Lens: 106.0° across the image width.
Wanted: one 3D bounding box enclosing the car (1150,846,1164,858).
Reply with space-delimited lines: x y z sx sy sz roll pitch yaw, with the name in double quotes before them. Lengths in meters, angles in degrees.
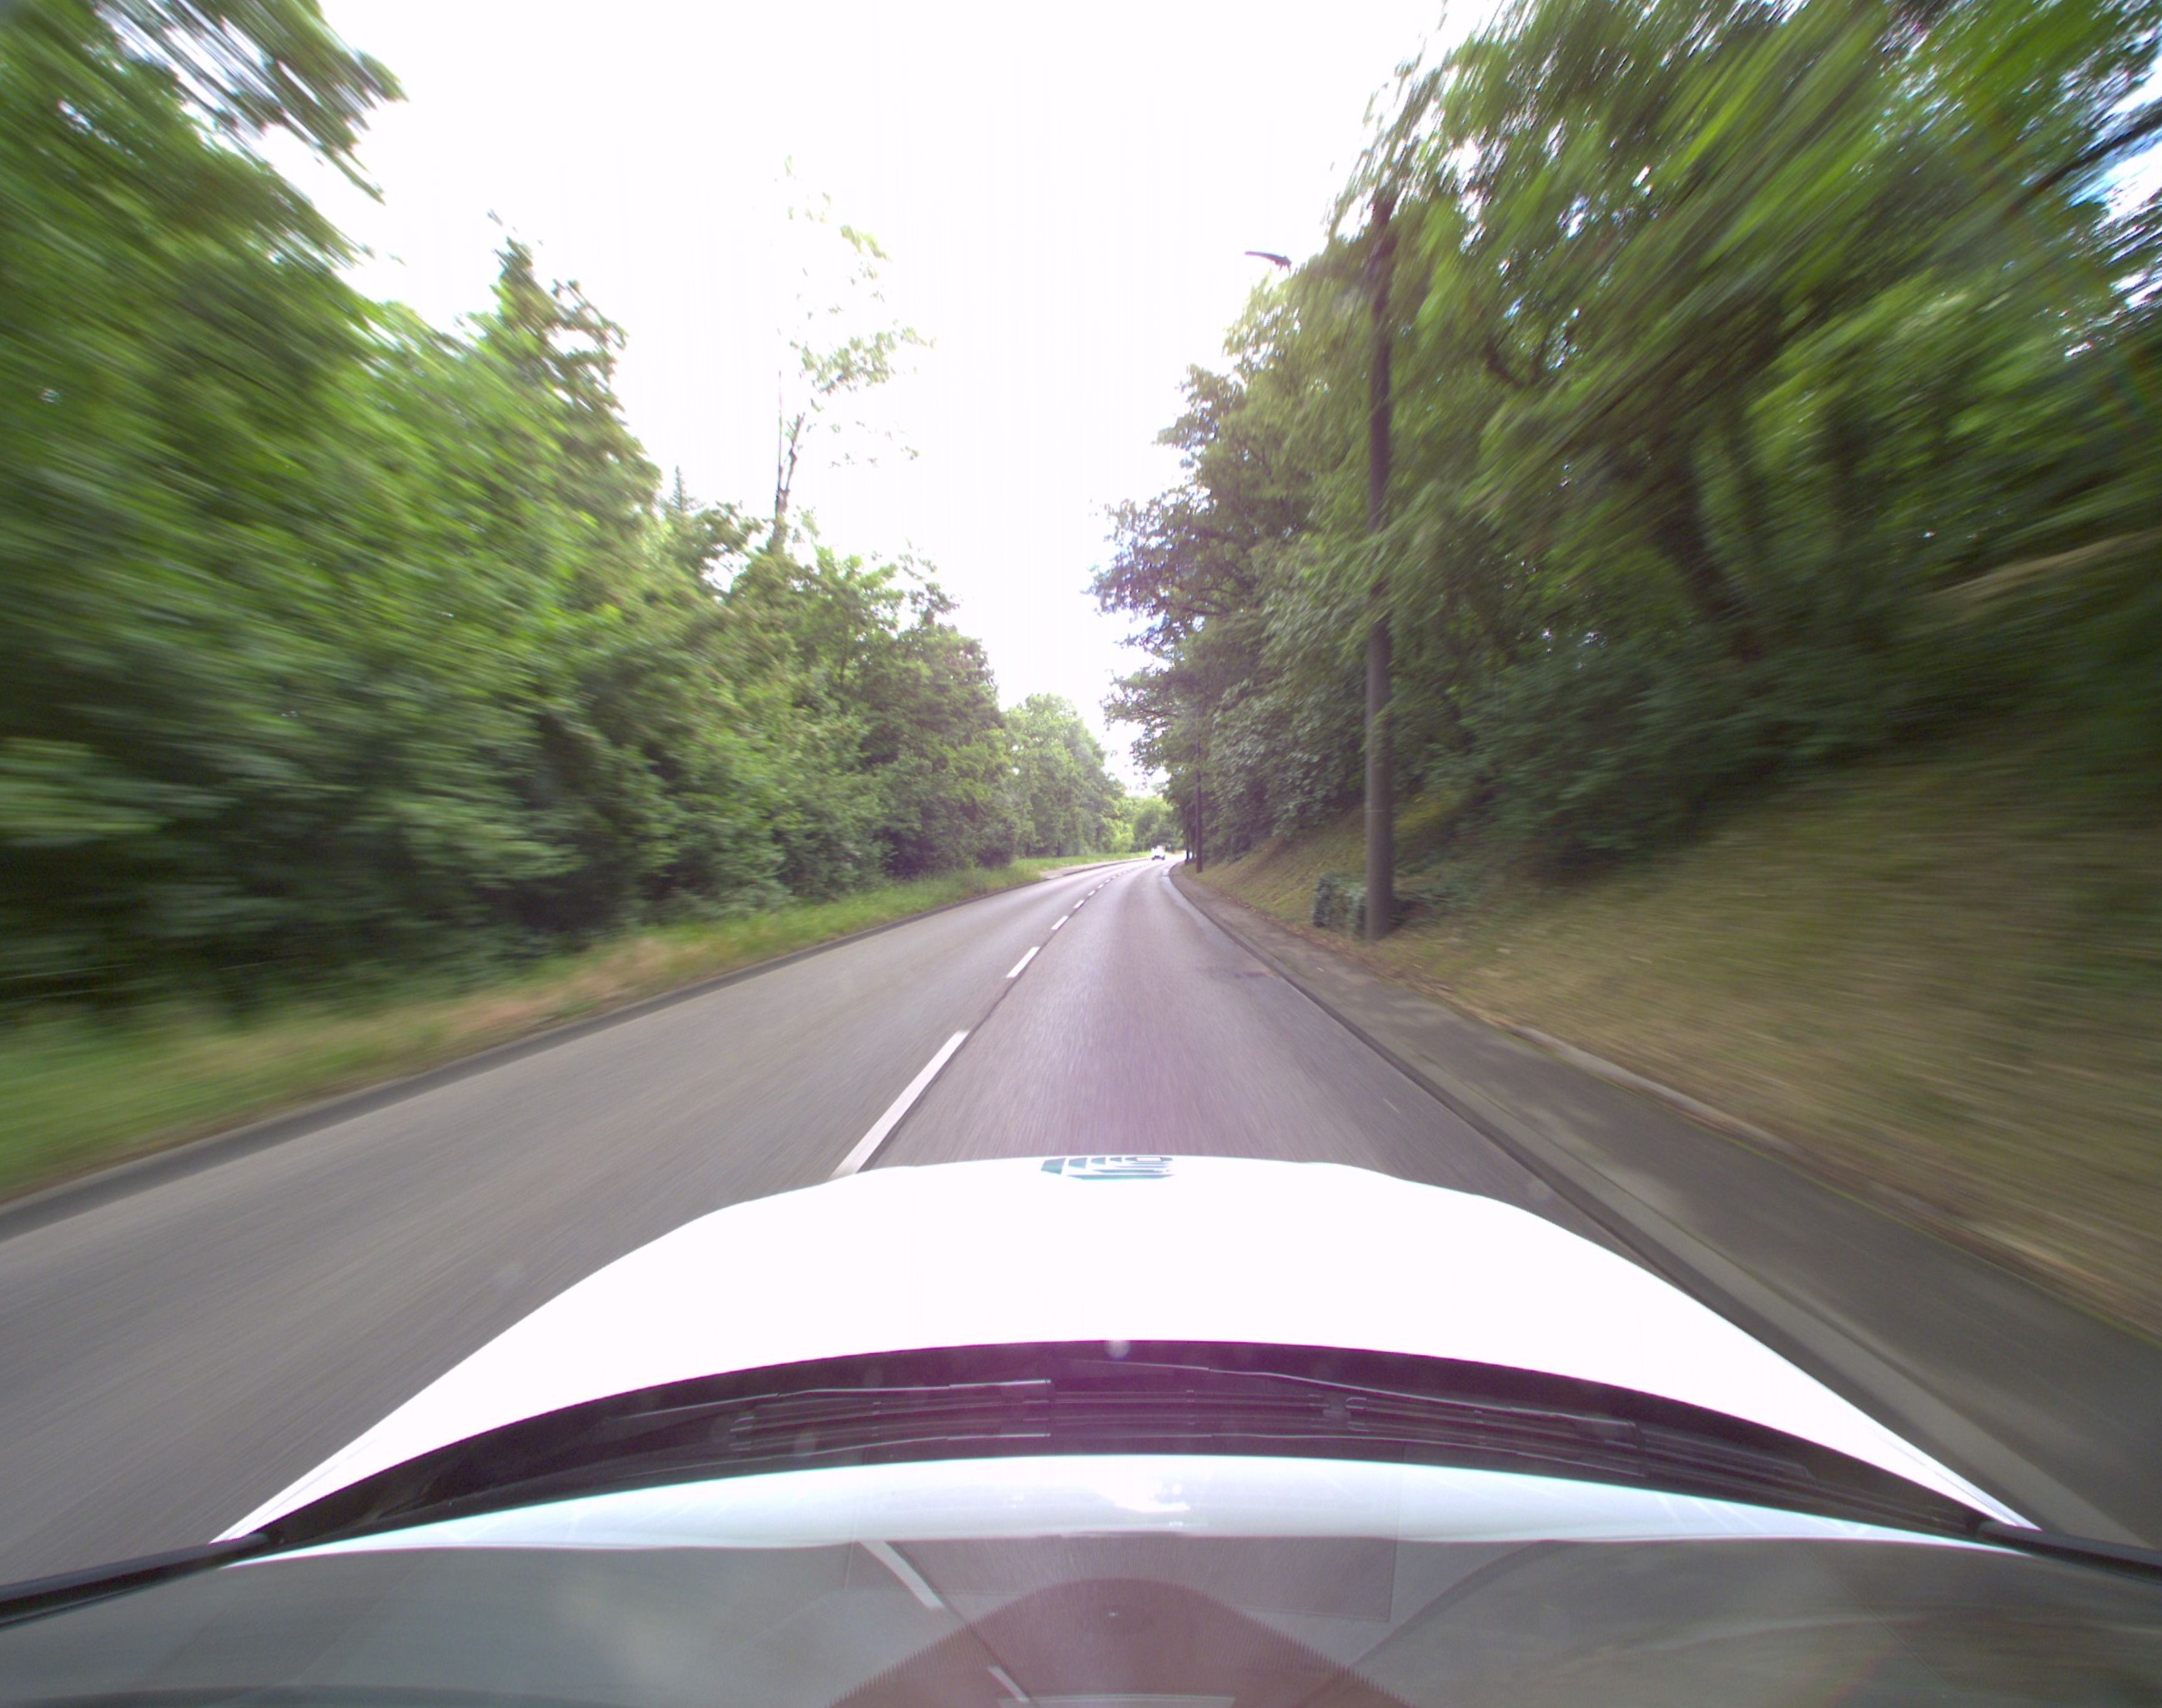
"car" 11.833 -0.249 126.462 1.983 1.753 4.791 0 -1 7
